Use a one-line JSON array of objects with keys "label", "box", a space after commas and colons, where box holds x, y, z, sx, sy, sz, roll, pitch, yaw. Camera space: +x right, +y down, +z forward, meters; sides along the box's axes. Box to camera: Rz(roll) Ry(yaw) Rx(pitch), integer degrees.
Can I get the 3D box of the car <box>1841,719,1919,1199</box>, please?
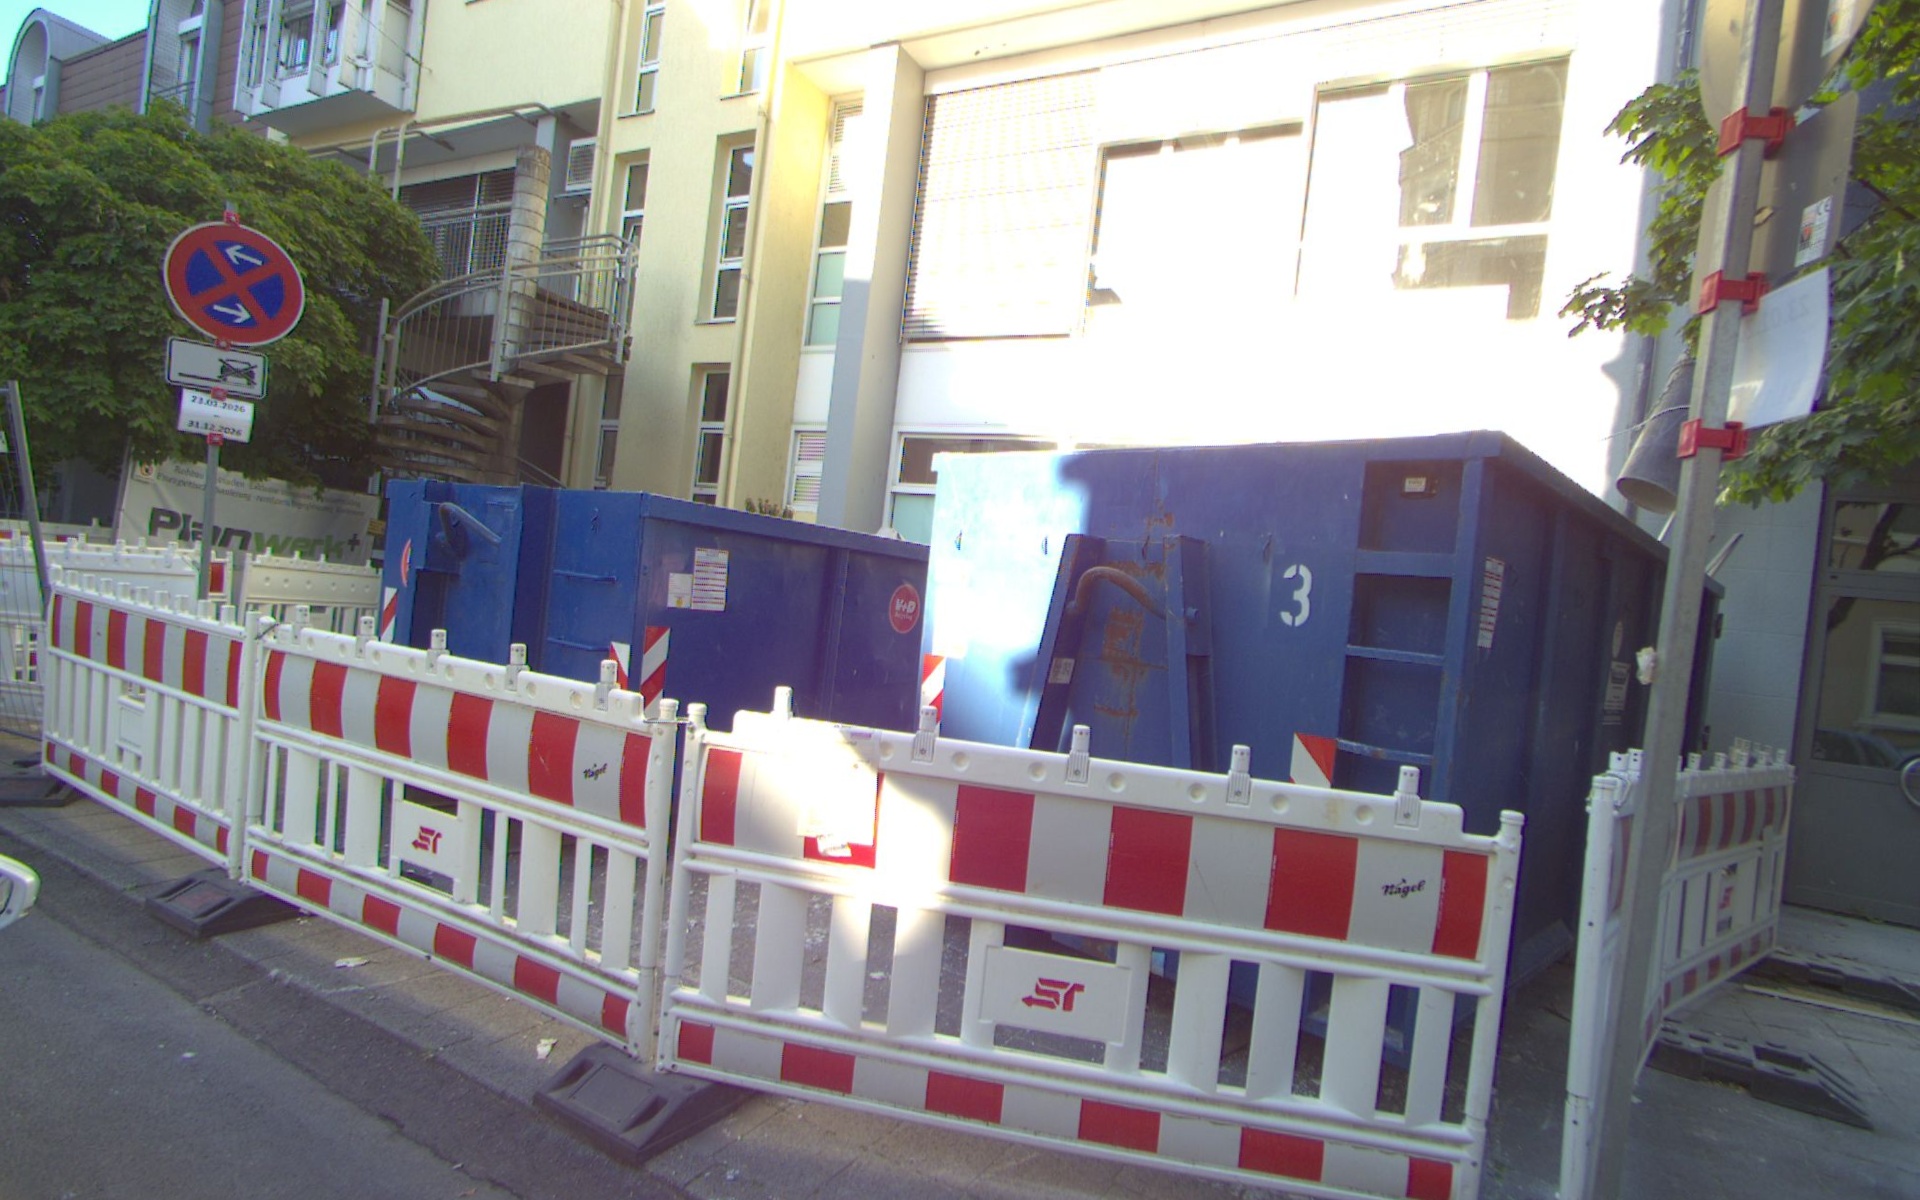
[{"label": "car", "box": [3.020, 1.131, 0.450, 3.668, 1.495, 1.677, 7, 1, 32]}]
